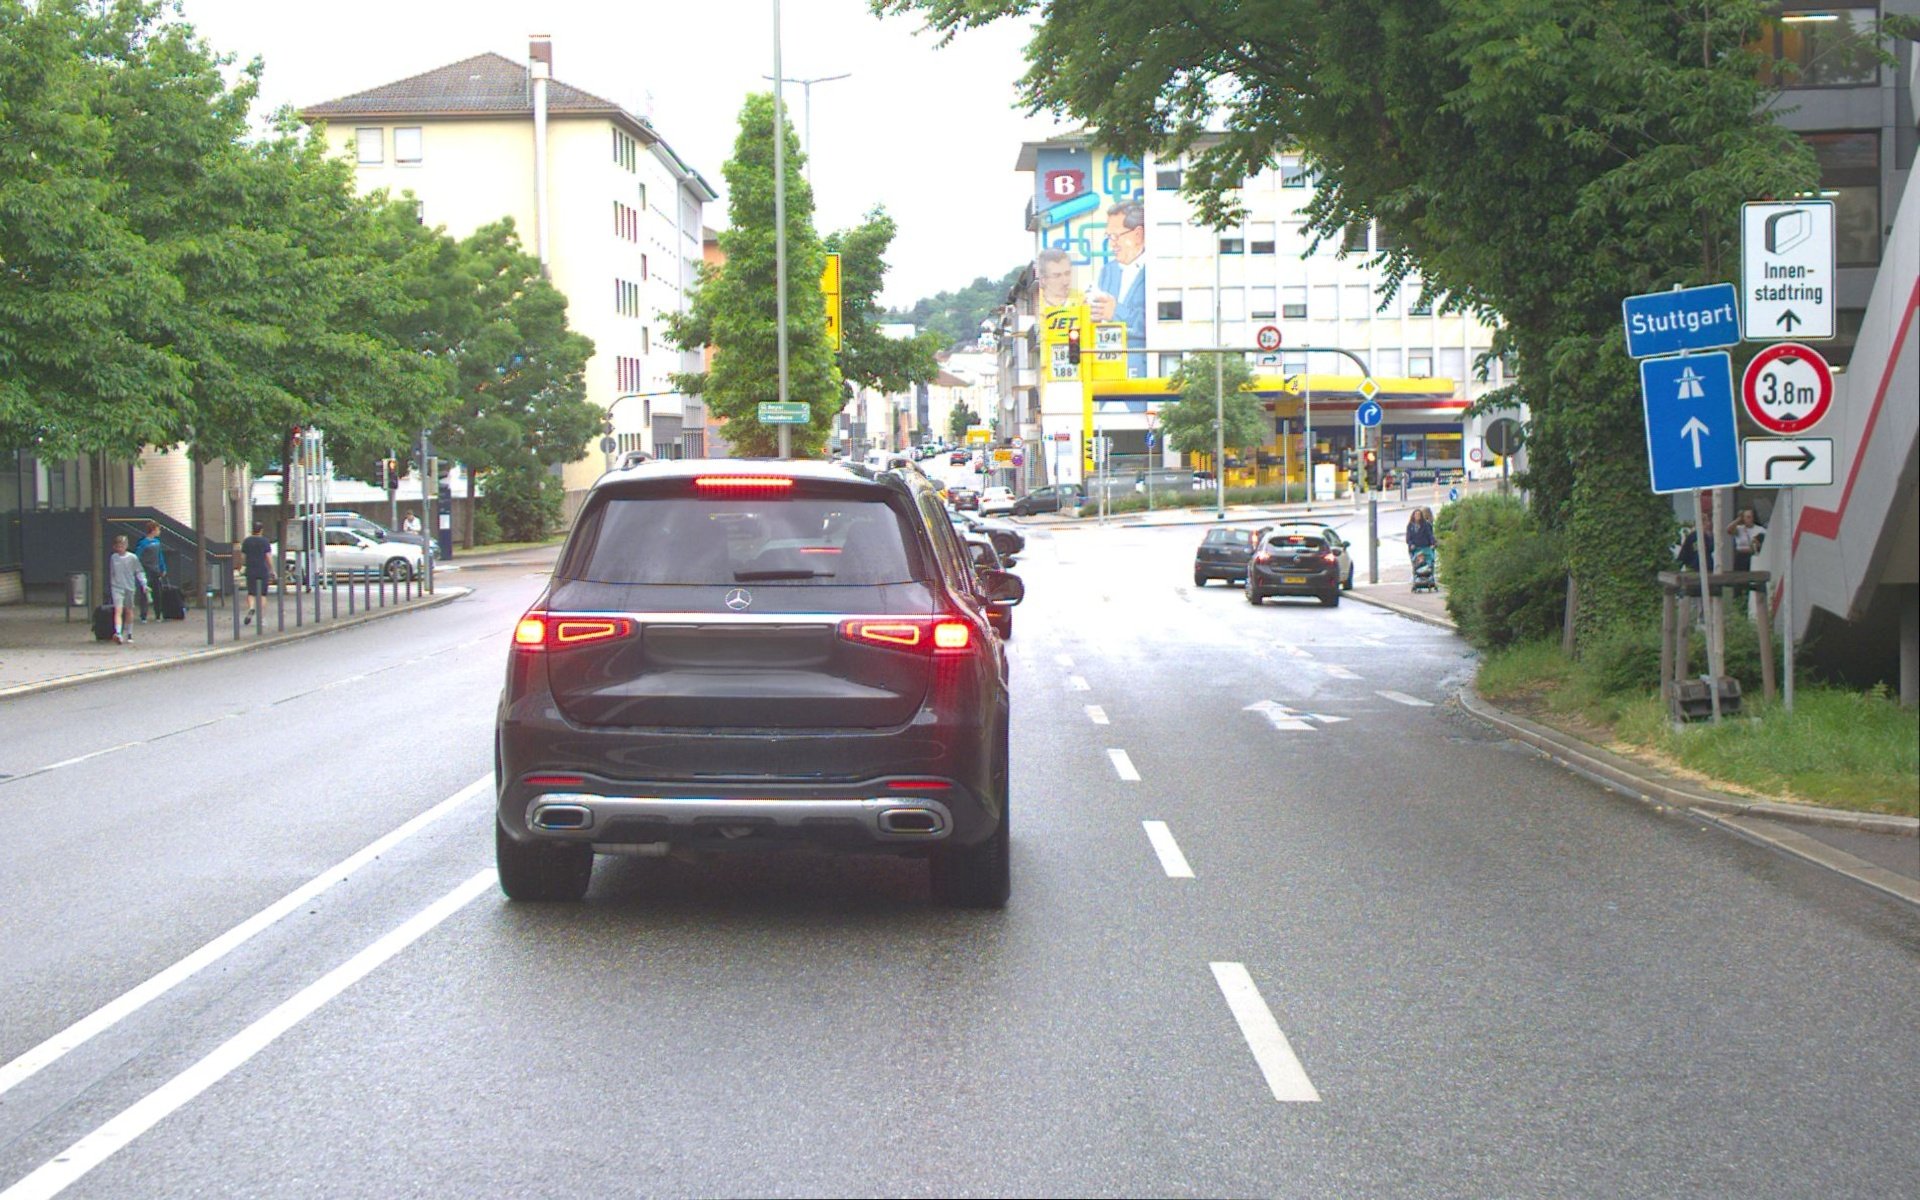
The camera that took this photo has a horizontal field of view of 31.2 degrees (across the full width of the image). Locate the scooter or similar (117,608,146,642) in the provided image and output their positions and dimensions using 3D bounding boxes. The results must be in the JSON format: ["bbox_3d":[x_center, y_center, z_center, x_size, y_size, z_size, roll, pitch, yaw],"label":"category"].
[{"bbox_3d":[-12.584,0.375,52.241,0.280,0.499,0.616,1,0,0],"label":"scooter or similar"}]

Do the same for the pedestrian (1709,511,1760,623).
[{"bbox_3d":[10.478,-0.442,46.511,0.582,1.496,0.504,1,0,6],"label":"pedestrian"}]

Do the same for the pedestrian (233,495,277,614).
[{"bbox_3d":[-12.050,-0.782,58.768,0.587,2.007,0.749,1,0,-2],"label":"pedestrian"}]

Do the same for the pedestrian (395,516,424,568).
[{"bbox_3d":[-15.735,-1.662,98.206,0.711,1.457,0.598,1,0,-1],"label":"pedestrian"}]

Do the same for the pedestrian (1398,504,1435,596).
[{"bbox_3d":[9.572,-1.041,72.095,0.663,1.911,0.728,1,0,14],"label":"pedestrian"}]

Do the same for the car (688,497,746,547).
[{"bbox_3d":[-9.443,-3.025,134.031,1.993,1.868,5.142,1,1,-2],"label":"car"}]

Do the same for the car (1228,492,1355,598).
[{"bbox_3d":[6.478,-1.105,67.558,1.993,2.007,4.001,0,2,-2],"label":"car"}]

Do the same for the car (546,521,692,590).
[{"bbox_3d":[-9.786,-1.290,98.595,3.986,1.936,2.001,0,1,-11],"label":"car"}]

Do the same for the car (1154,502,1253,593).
[{"bbox_3d":[5.602,-1.191,79.393,1.993,2.007,4.000,1,0,1],"label":"car"}]

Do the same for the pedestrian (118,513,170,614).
[{"bbox_3d":[-14.050,-0.625,59.186,0.688,1.719,0.754,1,-1,-1],"label":"pedestrian"}]

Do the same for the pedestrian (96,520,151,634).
[{"bbox_3d":[-12.607,-0.346,51.815,0.676,1.691,0.479,1,-1,0],"label":"pedestrian"}]

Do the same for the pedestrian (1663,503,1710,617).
[{"bbox_3d":[9.837,-0.545,46.549,0.551,1.527,0.488,1,0,7],"label":"pedestrian"}]

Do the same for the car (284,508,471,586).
[{"bbox_3d":[-15.423,-1.415,91.189,4.803,2.006,2.001,0,2,-7],"label":"car"}]

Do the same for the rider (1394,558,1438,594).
[{"bbox_3d":[9.514,-0.498,71.741,0.632,0.737,0.694,2,1,41],"label":"rider"}]

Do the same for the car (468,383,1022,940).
[{"bbox_3d":[-0.828,0.207,14.646,1.993,2.007,4.000,1,0,-1],"label":"car"}]

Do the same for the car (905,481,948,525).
[{"bbox_3d":[-1.631,-4.688,166.445,1.993,2.007,4.000,-2,1,-1],"label":"car"}]
